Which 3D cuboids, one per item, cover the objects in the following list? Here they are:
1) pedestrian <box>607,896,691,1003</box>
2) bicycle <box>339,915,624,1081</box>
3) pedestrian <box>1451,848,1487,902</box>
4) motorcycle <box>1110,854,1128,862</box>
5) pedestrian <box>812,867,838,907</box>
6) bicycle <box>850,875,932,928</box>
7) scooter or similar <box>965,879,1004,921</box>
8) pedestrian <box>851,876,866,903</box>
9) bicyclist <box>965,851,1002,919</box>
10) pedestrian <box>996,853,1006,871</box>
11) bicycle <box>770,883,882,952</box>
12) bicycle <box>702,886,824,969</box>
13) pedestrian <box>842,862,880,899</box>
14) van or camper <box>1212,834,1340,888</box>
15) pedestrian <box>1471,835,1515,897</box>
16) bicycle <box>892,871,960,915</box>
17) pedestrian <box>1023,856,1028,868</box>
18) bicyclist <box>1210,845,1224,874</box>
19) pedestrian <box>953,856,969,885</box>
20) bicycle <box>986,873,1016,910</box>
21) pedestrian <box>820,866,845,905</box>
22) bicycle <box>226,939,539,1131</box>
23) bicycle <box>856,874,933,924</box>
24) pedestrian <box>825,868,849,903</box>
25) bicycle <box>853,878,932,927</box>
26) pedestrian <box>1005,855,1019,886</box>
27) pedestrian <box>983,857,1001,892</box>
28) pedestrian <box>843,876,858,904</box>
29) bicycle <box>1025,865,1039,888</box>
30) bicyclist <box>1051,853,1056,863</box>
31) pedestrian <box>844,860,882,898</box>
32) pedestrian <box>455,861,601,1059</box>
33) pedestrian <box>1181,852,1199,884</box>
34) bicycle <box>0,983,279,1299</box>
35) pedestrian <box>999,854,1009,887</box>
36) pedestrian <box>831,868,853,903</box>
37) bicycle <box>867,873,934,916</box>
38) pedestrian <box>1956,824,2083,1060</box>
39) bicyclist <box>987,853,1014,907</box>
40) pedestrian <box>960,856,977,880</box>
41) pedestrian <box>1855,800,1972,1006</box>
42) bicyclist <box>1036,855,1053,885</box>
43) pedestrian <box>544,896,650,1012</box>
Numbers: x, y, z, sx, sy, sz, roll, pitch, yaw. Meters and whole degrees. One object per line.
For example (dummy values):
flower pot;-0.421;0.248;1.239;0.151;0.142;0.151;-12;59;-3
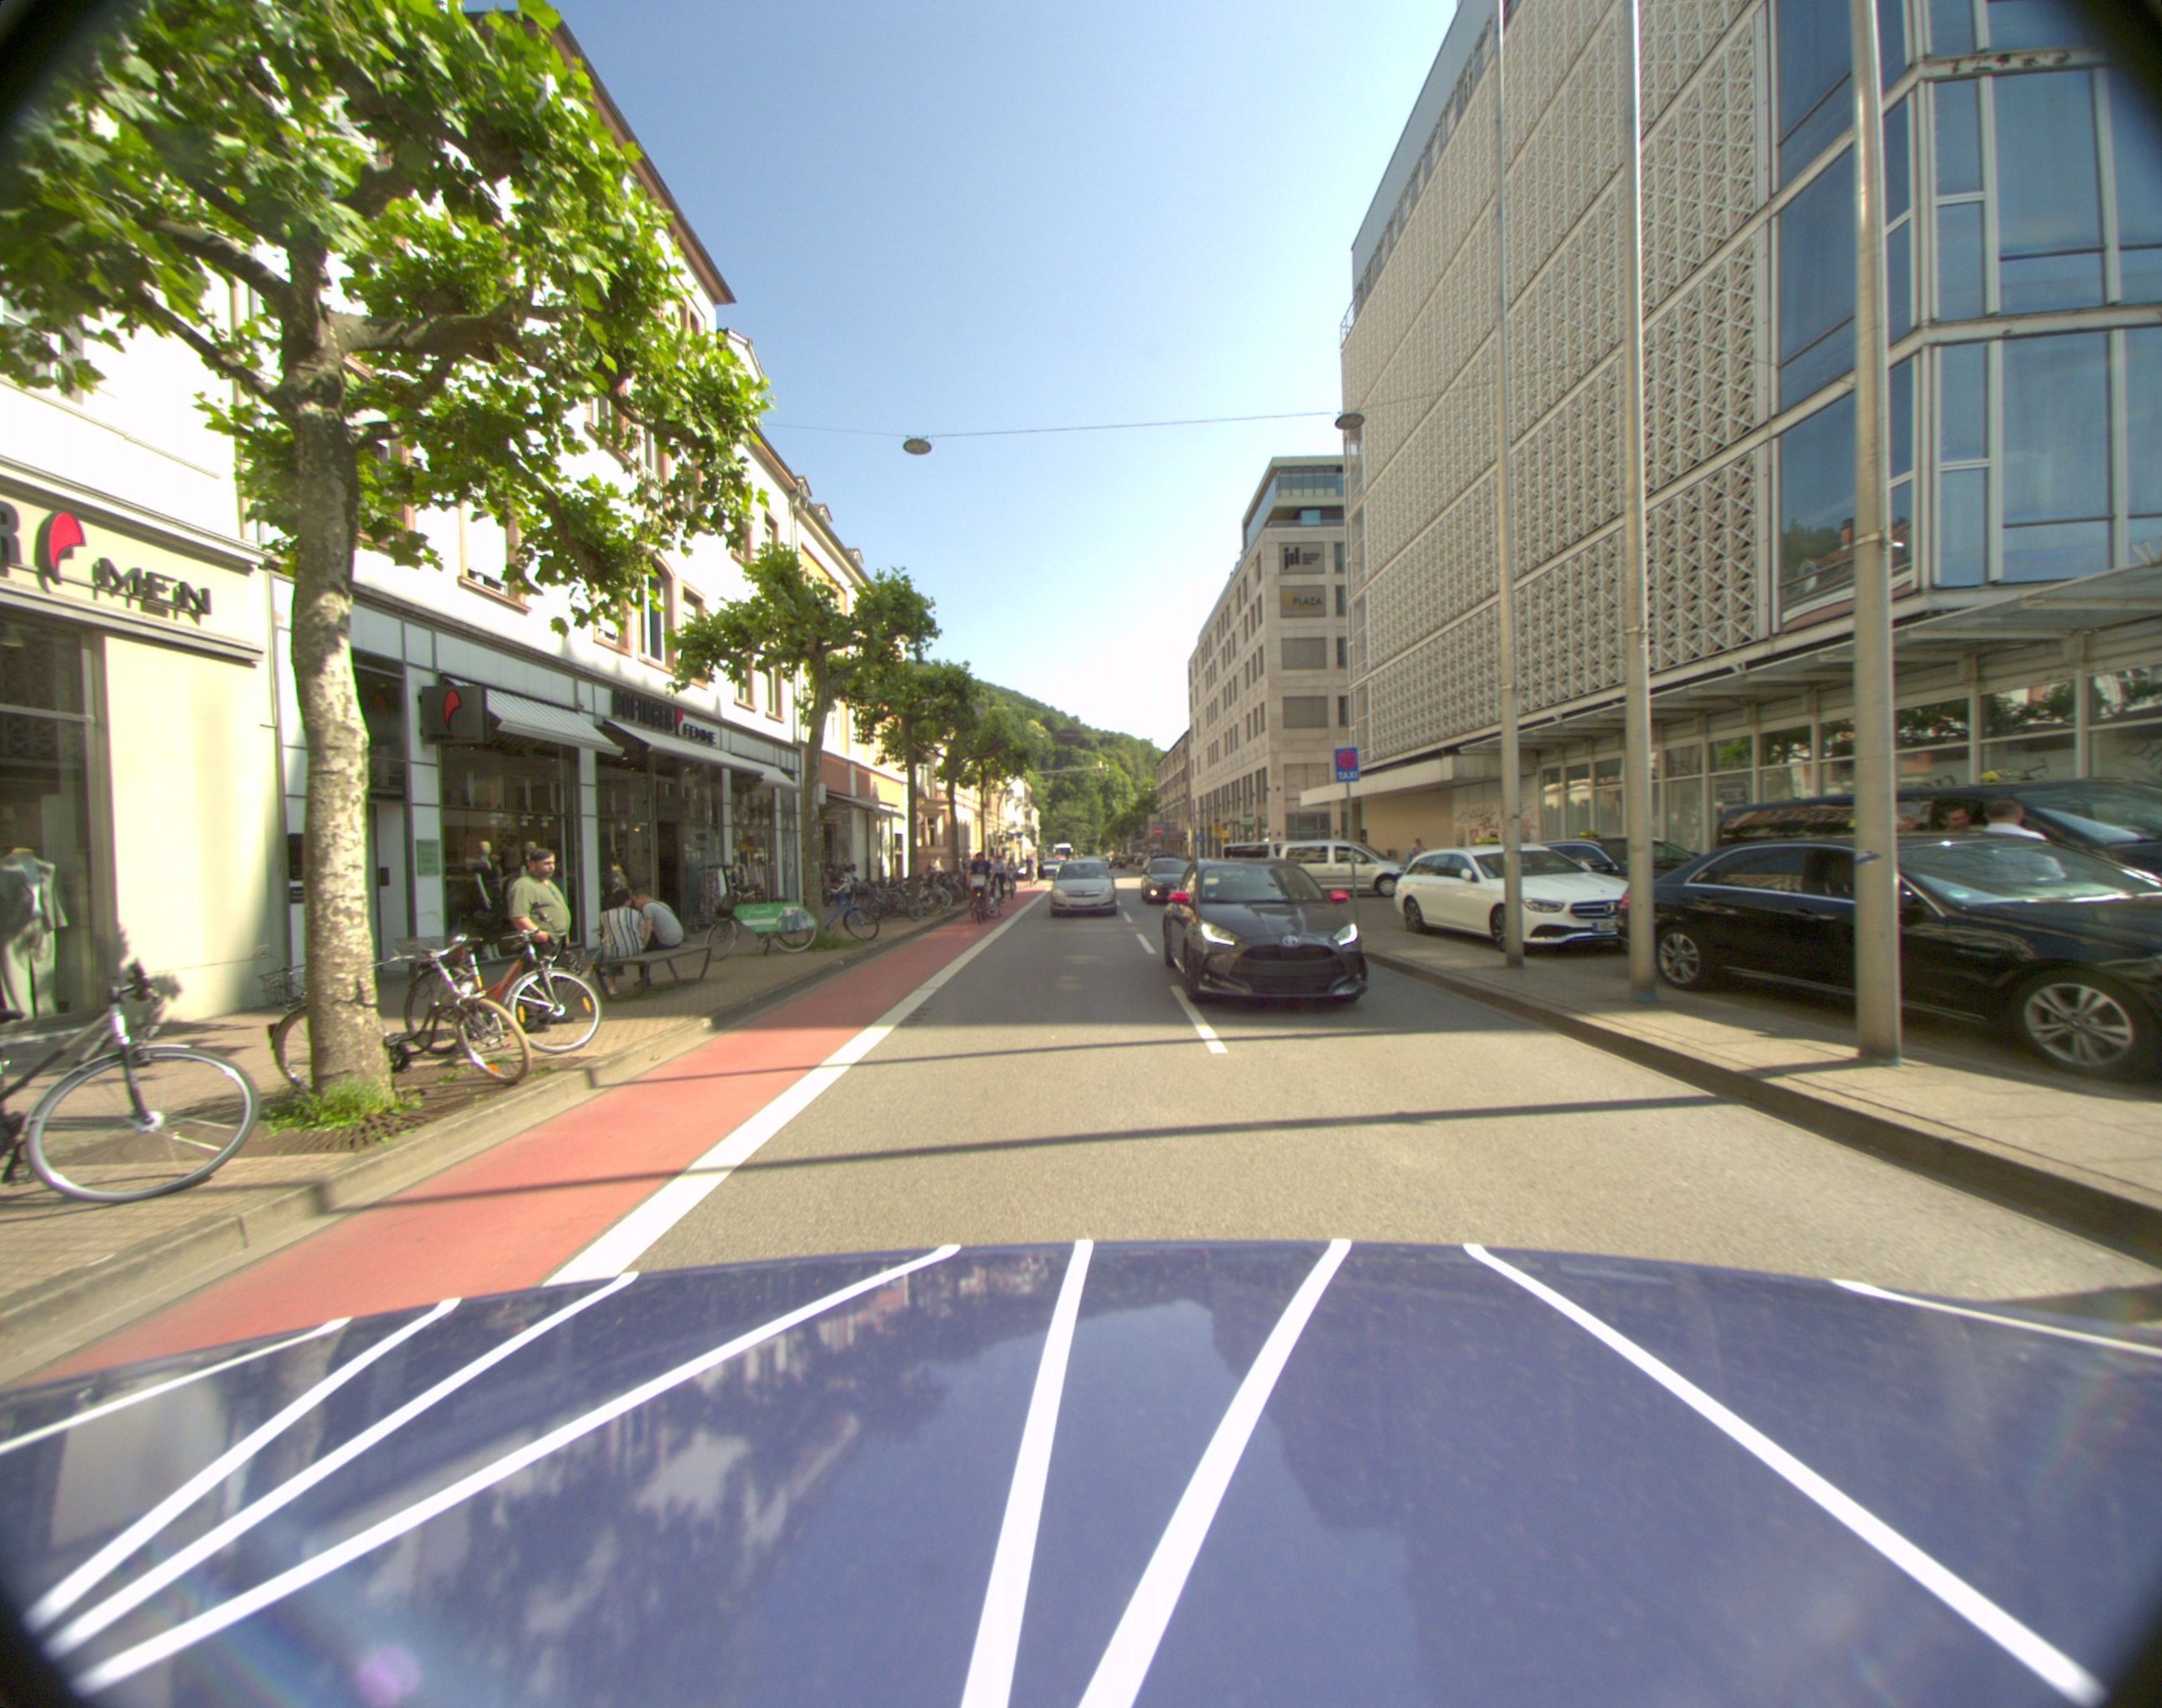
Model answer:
pedestrian;-5.356;1.166;9.456;0.641;1.226;0.596;-3;2;-2
bicycle;-4.817;1.144;6.155;1.843;1.190;0.674;-2;1;8
pedestrian;10.831;0.577;21.220;0.594;1.428;0.641;-4;2;-2
motorcycle;6.205;0.639;124.036;0.980;1.342;3.094;-1;1;-43
pedestrian;-8.804;1.120;26.107;0.683;1.325;0.532;-2;1;-2
bicycle;-4.638;1.140;18.635;1.846;1.120;0.632;-4;1;-10
scooter or similar;-2.610;1.238;20.667;0.785;1.054;1.126;-3;1;5
pedestrian;-8.103;1.280;27.723;0.365;0.962;0.437;-2;1;2
bicyclist;-2.444;0.768;19.113;0.732;1.664;0.775;0;1;8
pedestrian;-7.835;0.804;74.303;0.840;1.781;0.767;-1;1;1
bicycle;-4.728;1.169;14.181;1.845;1.120;0.497;-4;0;-7
bicycle;-5.228;1.179;12.522;1.783;1.190;0.576;-3;1;-27
pedestrian;-8.685;1.029;30.025;1.236;1.414;0.789;-1;2;-2
van or camper;8.035;0.314;31.554;4.648;2.002;2.004;-3;0;40
pedestrian;11.506;0.318;21.228;0.789;1.651;0.641;-4;2;-2
bicycle;-4.515;1.116;22.201;1.849;1.120;0.592;-2;2;-35
pedestrian;-7.438;1.098;101.675;0.482;1.659;0.868;-1;1;0
bicyclist;9.301;0.350;51.965;0.843;1.948;1.017;-1;1;6
pedestrian;-7.076;0.983;44.801;0.640;1.648;0.791;-2;-2;14
bicycle;-2.623;1.214;25.006;0.737;1.120;2.033;-2;0;0
pedestrian;-8.718;1.106;26.703;0.683;1.330;0.532;-1;1;-2
bicycle;-4.663;1.188;5.087;1.843;1.120;0.498;-3;1;12
bicycle;-4.863;1.157;19.879;1.846;1.121;0.764;-4;2;-12
pedestrian;-8.739;1.130;27.248;0.683;1.246;0.532;0;0;-2
bicycle;-4.731;1.201;19.136;1.846;1.087;0.564;-3;1;-10
pedestrian;-3.960;0.950;43.482;0.641;1.700;0.789;5;3;-3
pedestrian;-4.654;1.061;39.899;0.789;1.784;0.641;-3;0;-2
pedestrian;-8.213;1.273;27.058;0.342;0.962;0.437;-2;1;2
bicycle;-2.618;1.170;40.727;0.607;1.120;1.859;0;2;2
bicyclist;-4.630;0.616;128.018;0.747;1.693;1.036;-1;1;1
pedestrian;-8.834;1.006;30.888;1.255;1.475;0.837;-2;1;-2
pedestrian;-5.065;0.925;7.016;0.641;1.679;0.843;-4;0;-2
pedestrian;5.449;0.690;38.070;0.641;1.550;0.680;-3;0;-11
bicycle;-4.937;1.218;3.436;1.844;1.091;0.794;-2;1;6
pedestrian;-4.186;0.891;41.334;0.453;1.784;0.608;-3;0;-2
pedestrian;-8.746;1.147;27.847;0.641;1.246;0.608;0;2;-2
bicycle;-5.262;1.161;22.263;1.849;1.120;0.447;-2;2;-36
pedestrian;7.506;0.662;6.101;0.531;1.782;0.540;-1;1;40
bicyclist;-2.636;0.829;24.979;0.684;1.707;0.844;-3;1;0
pedestrian;-7.969;0.980;53.876;0.904;1.603;0.974;-1;4;-28
pedestrian;7.657;0.420;7.020;0.618;1.782;0.694;-1;1;40
bicyclist;-2.138;0.920;44.561;0.910;1.707;0.844;-1;1;1
pedestrian;-5.644;1.147;8.897;0.789;1.236;0.576;-3;2;-2
